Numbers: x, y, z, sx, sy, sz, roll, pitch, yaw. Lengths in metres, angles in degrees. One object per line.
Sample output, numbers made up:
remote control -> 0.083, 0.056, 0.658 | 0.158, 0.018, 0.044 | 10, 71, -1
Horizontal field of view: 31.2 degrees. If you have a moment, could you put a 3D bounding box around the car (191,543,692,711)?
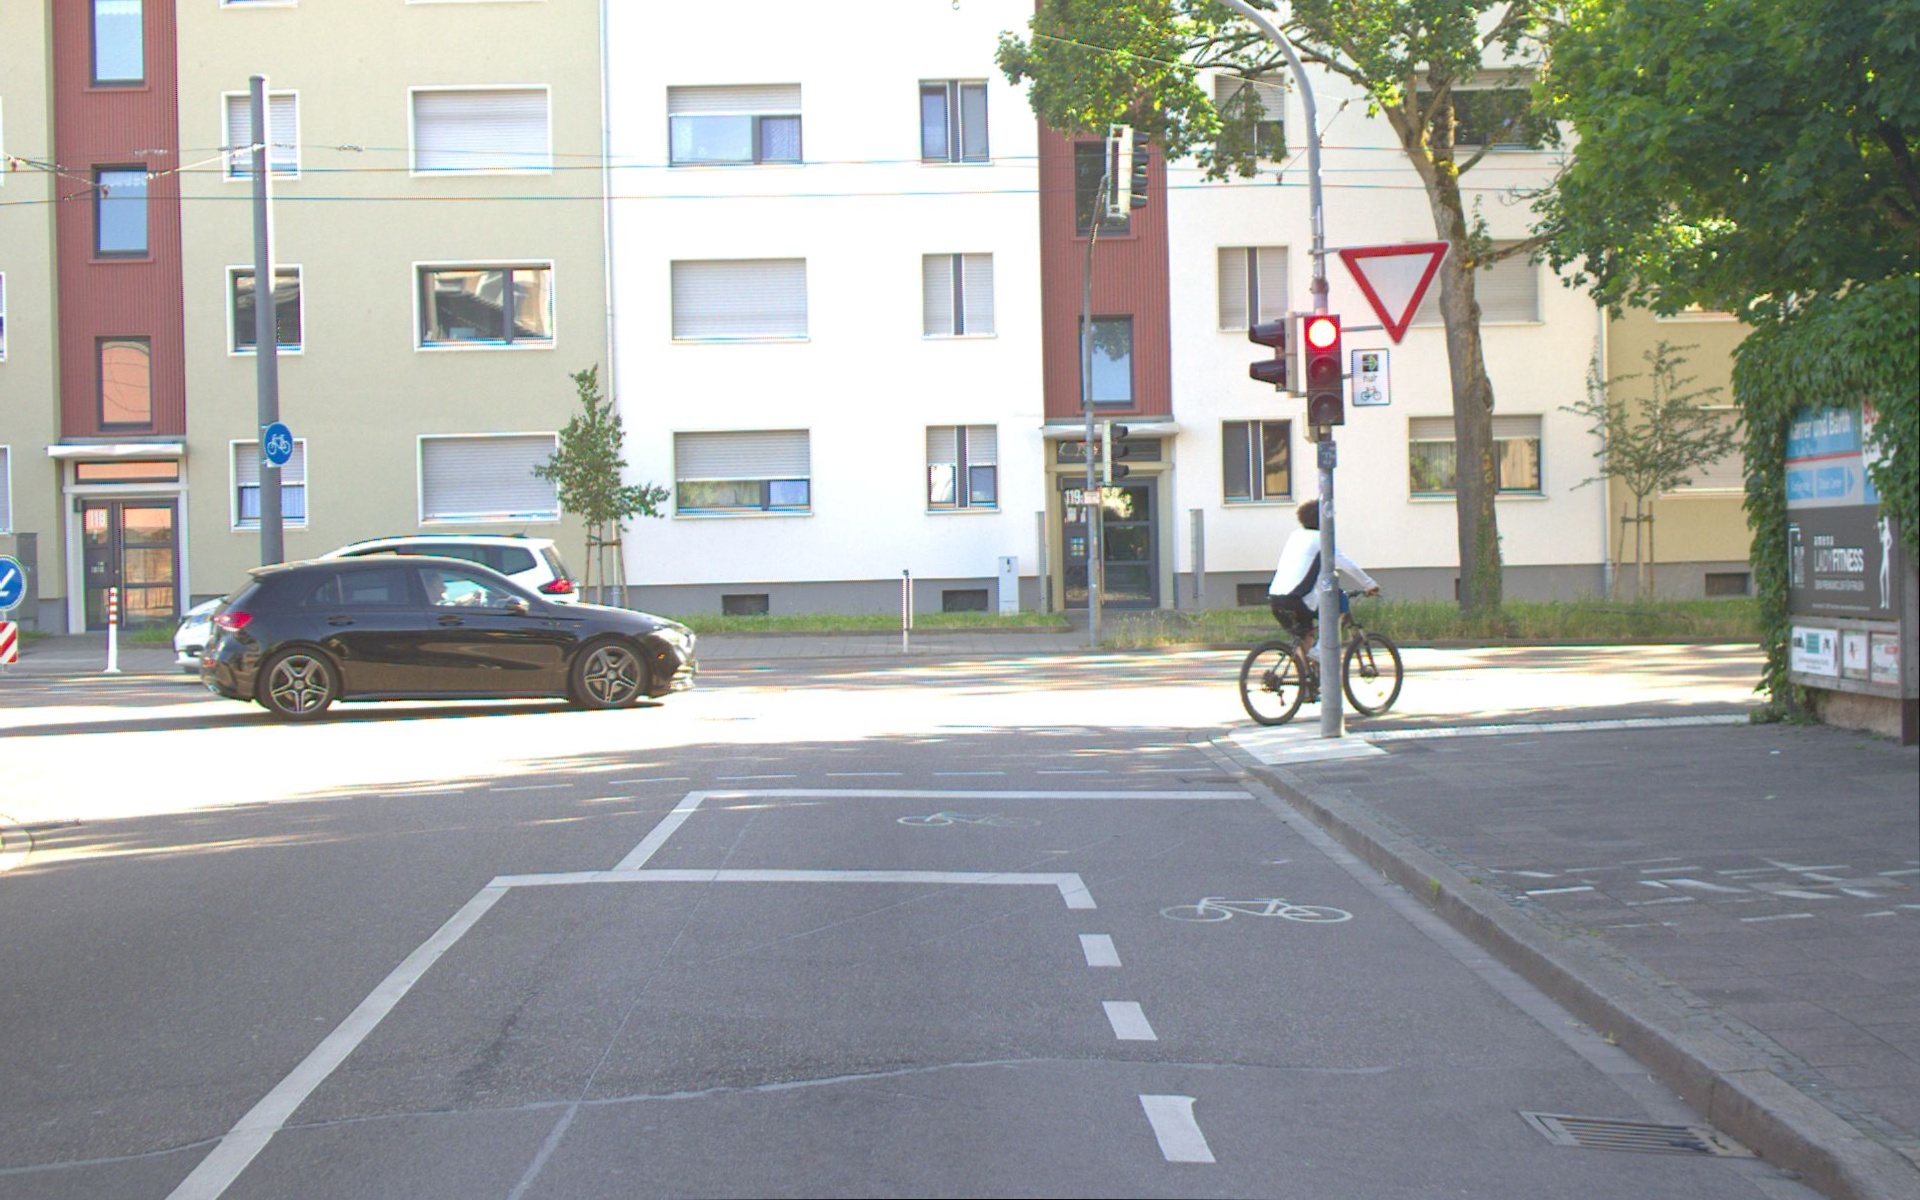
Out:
car -> -4.667, 0.205, 30.844 | 4.191, 1.416, 1.854 | 0, 1, -18

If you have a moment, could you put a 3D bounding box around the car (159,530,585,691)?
car -> -6.709, 0.095, 39.369 | 4.660, 1.733, 2.001 | -1, 1, -9

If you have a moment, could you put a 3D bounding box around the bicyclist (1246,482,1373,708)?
bicyclist -> 2.768, -0.047, 27.245 | 0.786, 1.751, 0.612 | -1, 1, -23

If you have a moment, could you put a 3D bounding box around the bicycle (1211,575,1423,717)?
bicycle -> 2.834, 0.354, 27.231 | 1.683, 1.076, 0.351 | -1, 1, -22
